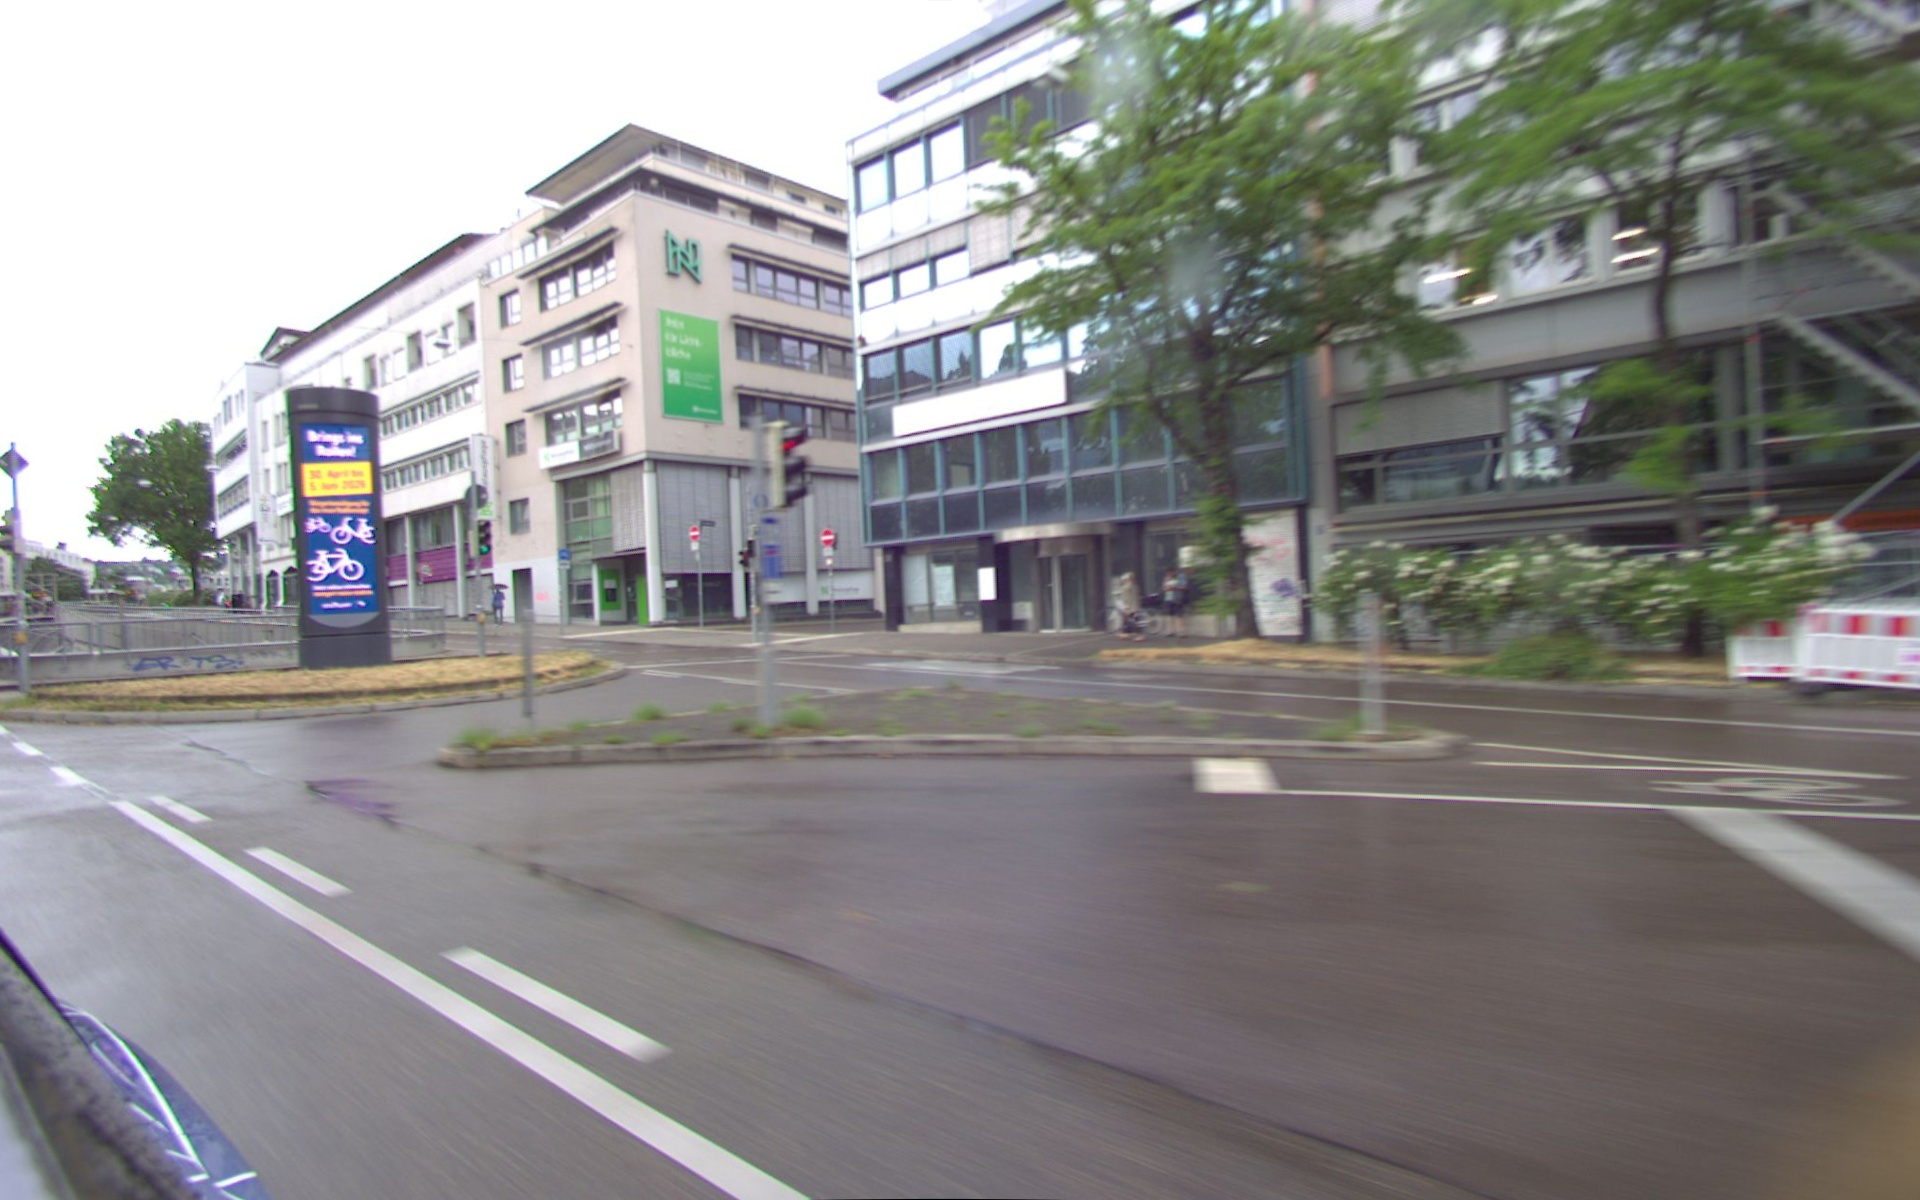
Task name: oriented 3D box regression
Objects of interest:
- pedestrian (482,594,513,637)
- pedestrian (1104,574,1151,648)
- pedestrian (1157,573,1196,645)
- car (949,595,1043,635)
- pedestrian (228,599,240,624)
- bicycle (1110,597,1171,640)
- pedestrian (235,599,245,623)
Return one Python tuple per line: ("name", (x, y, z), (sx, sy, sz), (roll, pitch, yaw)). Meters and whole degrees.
("pedestrian", (-20.646, 0.677, 45.142), (1.059, 1.852, 0.848), (-1, 1, 41))
("pedestrian", (4.121, 0.267, 24.849), (0.876, 1.754, 0.686), (-1, 1, 39))
("pedestrian", (5.459, 0.224, 25.508), (0.694, 1.754, 0.689), (-1, 1, 36))
("car", (1.571, 0.618, 42.771), (1.998, 1.569, 3.947), (-2, 0, 39))
("pedestrian", (-54.568, 0.844, 76.023), (0.469, 1.816, 0.541), (-1, 1, 33))
("bicycle", (4.686, 0.476, 26.332), (0.441, 1.093, 1.566), (-1, 0, -45))
("pedestrian", (-53.552, 0.817, 75.273), (0.547, 1.816, 0.463), (-1, 1, 44))
